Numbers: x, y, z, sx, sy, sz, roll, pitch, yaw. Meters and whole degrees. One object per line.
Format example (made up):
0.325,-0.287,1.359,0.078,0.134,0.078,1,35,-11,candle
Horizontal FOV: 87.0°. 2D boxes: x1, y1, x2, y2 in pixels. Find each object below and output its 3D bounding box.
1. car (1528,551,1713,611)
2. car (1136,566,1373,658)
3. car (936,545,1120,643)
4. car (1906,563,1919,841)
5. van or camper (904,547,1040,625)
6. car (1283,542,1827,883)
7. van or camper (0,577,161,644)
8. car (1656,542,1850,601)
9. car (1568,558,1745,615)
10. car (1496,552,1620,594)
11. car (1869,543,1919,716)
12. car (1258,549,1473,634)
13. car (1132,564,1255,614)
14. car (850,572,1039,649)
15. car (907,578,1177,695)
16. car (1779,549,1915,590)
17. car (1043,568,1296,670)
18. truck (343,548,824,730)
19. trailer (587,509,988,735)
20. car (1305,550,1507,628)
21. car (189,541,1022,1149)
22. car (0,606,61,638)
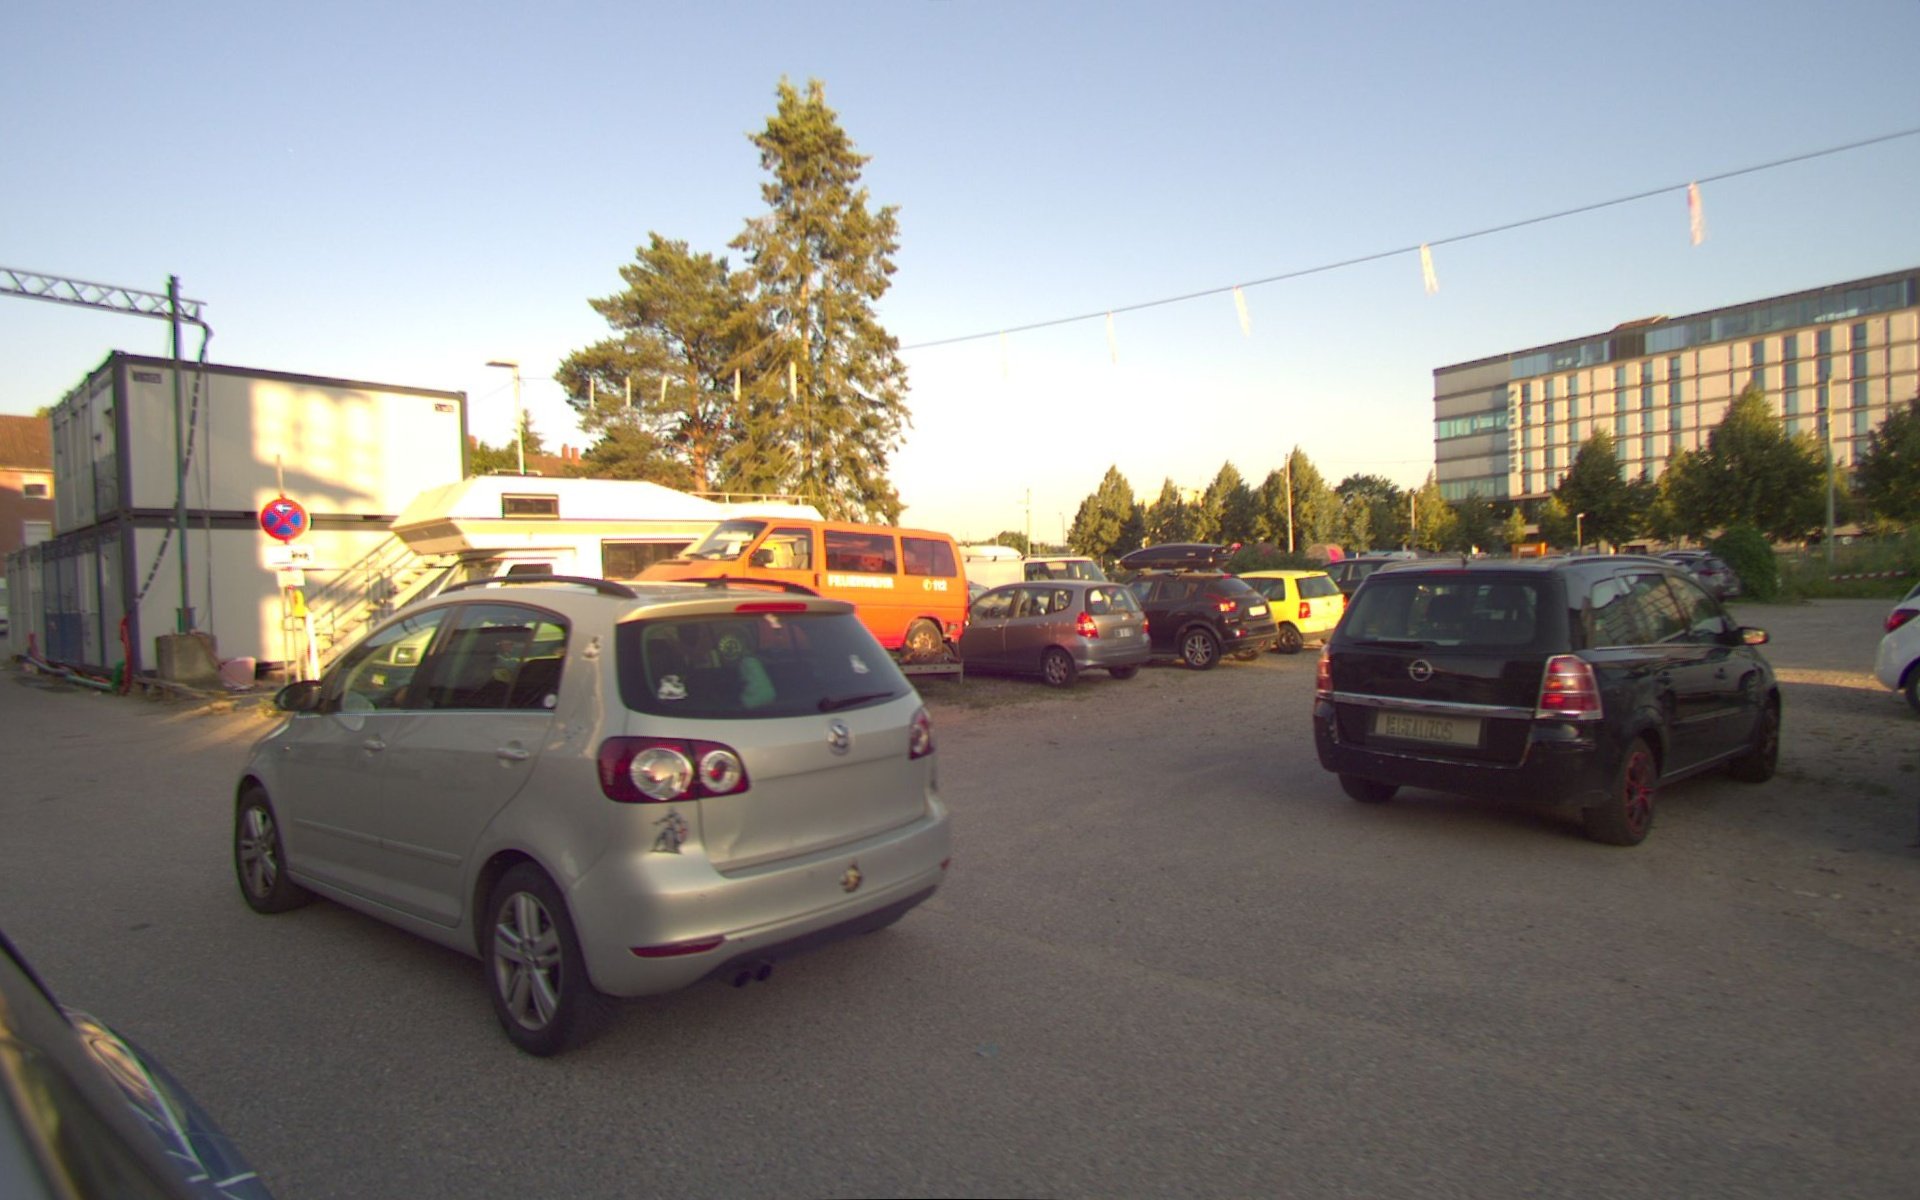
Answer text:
18.227,-0.508,28.087,1.636,1.551,3.949,-2,1,-33,car
5.503,0.196,19.221,1.821,1.534,3.943,-2,1,-42,car
1.569,-0.074,25.306,1.819,2.165,4.832,-2,-1,-37,car
6.677,0.468,5.395,3.876,1.532,1.812,-4,1,-39,car
0.353,-0.528,38.653,2.173,2.728,5.762,-2,1,-35,van or camper
4.149,0.476,6.811,3.985,1.632,1.853,-2,1,-39,car
-41.351,0.463,46.898,2.407,2.659,6.385,-1,3,43,van or camper
26.573,-0.924,34.109,1.656,1.856,4.852,-2,1,-31,car
20.358,-0.394,29.713,1.636,1.551,3.949,-2,1,-33,car
23.248,-1.024,39.469,1.541,1.536,3.887,-2,1,-31,car
10.263,0.228,8.100,1.819,1.534,4.161,-2,1,-36,car
8.760,-0.182,22.064,1.821,1.681,3.943,-2,1,-42,car
9.918,-0.465,43.422,2.023,1.951,5.120,-2,1,-33,car
-0.489,0.297,23.740,1.820,1.580,4.831,-2,-1,-38,car
1.152,0.481,15.596,1.822,1.534,3.942,-2,1,-43,car
36.611,-1.247,41.860,1.636,1.551,3.949,-2,1,-33,car
3.509,0.273,17.474,1.822,1.534,3.942,-2,1,-43,car
-5.052,0.346,14.390,2.357,2.058,5.943,-1,1,45,truck
-2.112,0.105,13.331,4.734,2.450,2.137,-4,4,-41,trailer
10.446,-0.256,23.891,1.821,1.681,3.943,-2,1,-42,car
-1.941,0.653,4.717,4.281,1.632,1.654,-1,1,39,car
-50.819,1.196,54.305,1.810,1.527,3.677,-1,3,44,car
